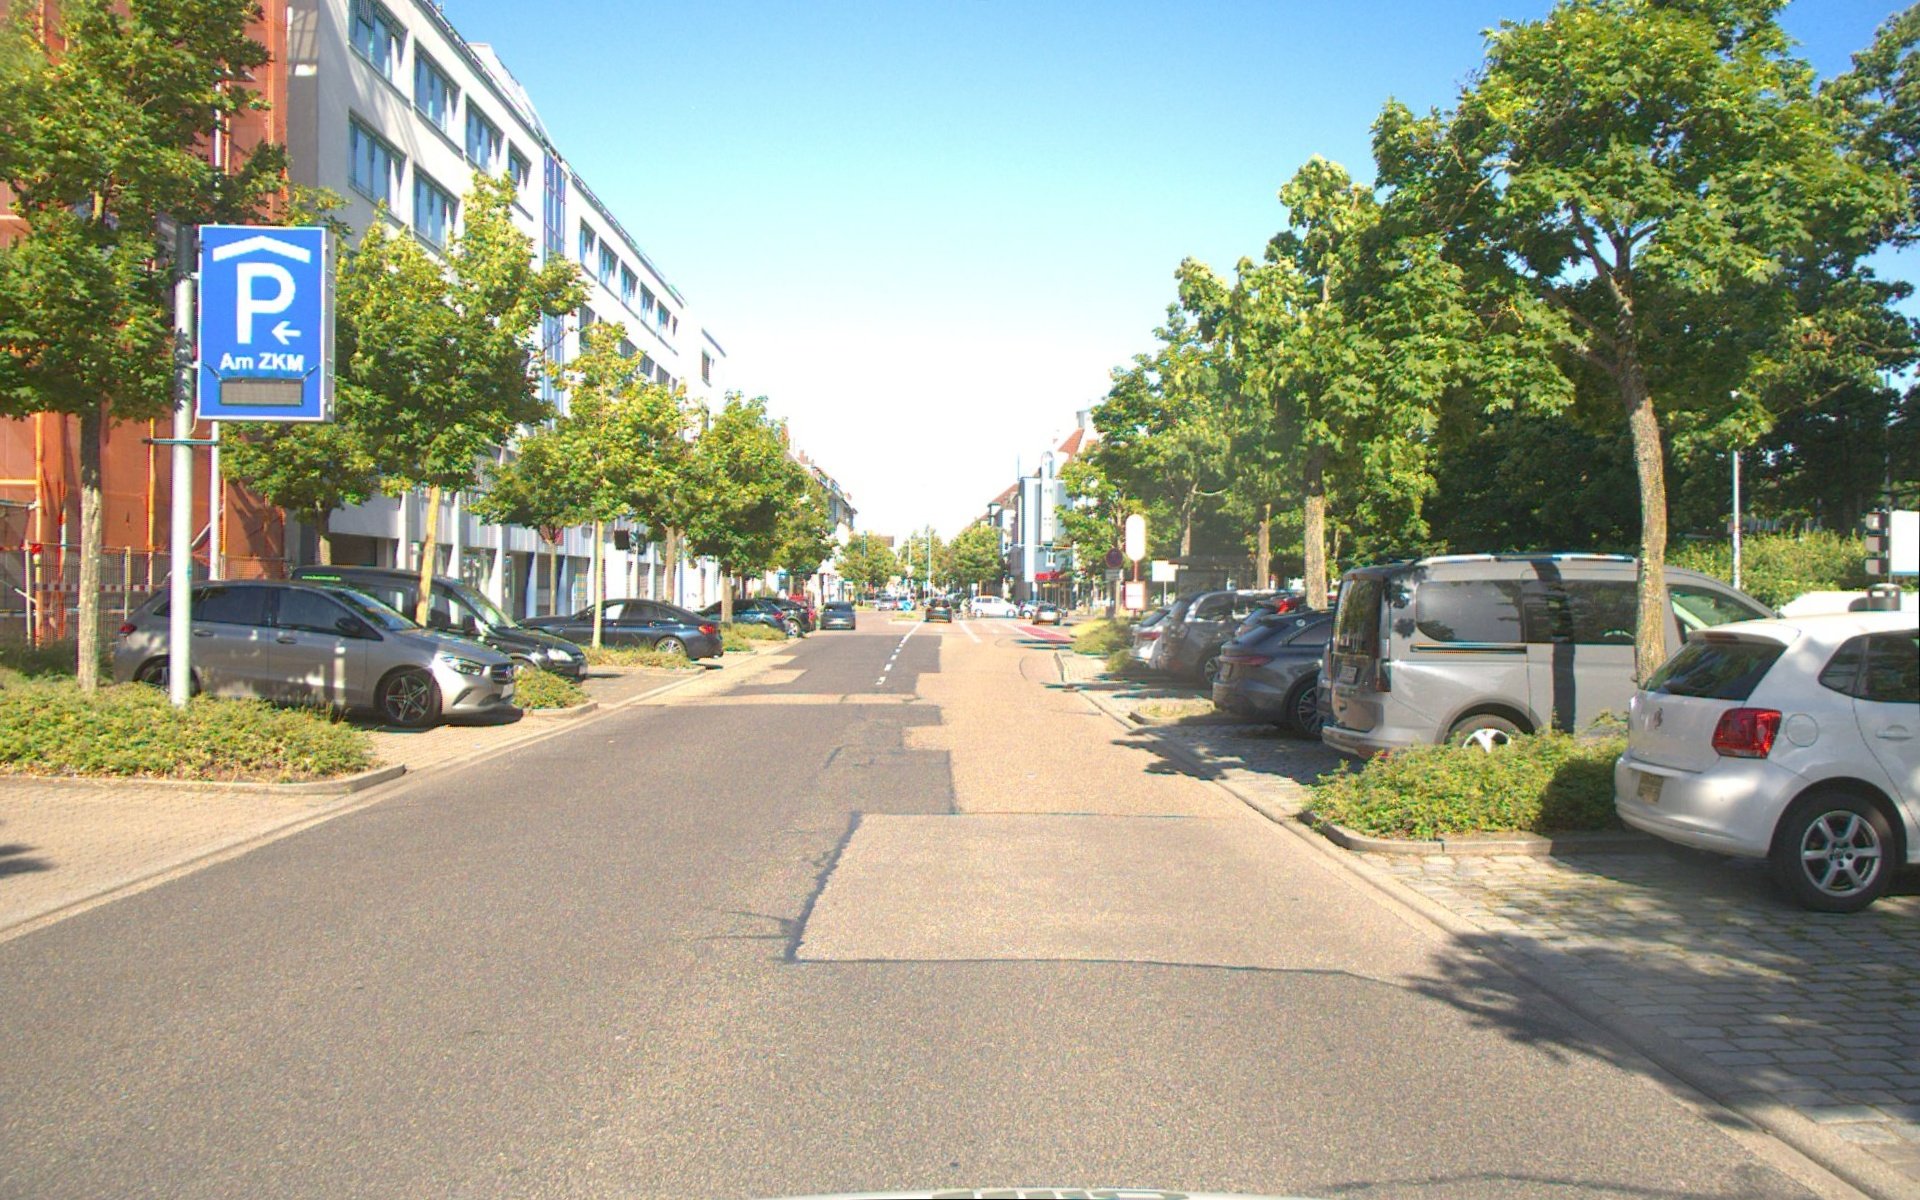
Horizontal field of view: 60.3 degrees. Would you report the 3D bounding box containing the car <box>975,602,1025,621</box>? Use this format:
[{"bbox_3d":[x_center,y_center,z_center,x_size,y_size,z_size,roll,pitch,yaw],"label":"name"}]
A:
[{"bbox_3d":[3.295,0.896,135.372,4.014,1.500,1.817,0,1,-2],"label":"car"}]

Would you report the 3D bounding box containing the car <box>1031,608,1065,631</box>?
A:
[{"bbox_3d":[6.230,1.356,117.491,1.949,1.500,4.108,0,1,-3],"label":"car"}]

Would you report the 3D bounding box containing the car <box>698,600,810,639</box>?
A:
[{"bbox_3d":[-8.148,0.764,65.630,4.243,1.500,1.817,0,1,-2],"label":"car"}]

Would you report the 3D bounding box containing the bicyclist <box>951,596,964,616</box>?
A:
[{"bbox_3d":[-0.196,0.465,126.564,1.003,1.470,0.911,0,1,1],"label":"bicyclist"}]

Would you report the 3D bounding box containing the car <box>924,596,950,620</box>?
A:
[{"bbox_3d":[-1.562,0.522,113.184,1.774,1.500,4.111,0,1,0],"label":"car"}]

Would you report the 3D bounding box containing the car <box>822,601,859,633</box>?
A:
[{"bbox_3d":[-6.198,0.874,86.316,1.775,1.500,4.109,0,1,-2],"label":"car"}]

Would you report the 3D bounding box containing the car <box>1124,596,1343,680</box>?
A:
[{"bbox_3d":[4.980,0.697,30.502,3.831,1.500,1.758,0,-1,3],"label":"car"}]

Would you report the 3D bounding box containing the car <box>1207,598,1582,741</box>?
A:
[{"bbox_3d":[4.816,0.745,18.760,3.831,1.500,1.796,0,1,3],"label":"car"}]

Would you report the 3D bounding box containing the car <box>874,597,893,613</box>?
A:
[{"bbox_3d":[-8.424,0.573,182.744,1.832,1.670,3.927,0,1,2],"label":"car"}]

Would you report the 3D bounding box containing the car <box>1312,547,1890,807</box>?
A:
[{"bbox_3d":[4.898,0.549,13.012,3.905,1.912,1.682,0,1,-1],"label":"car"}]

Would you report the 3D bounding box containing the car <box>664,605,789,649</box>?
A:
[{"bbox_3d":[-8.277,0.938,58.885,4.243,1.500,1.817,0,1,-2],"label":"car"}]

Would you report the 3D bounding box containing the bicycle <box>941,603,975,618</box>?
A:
[{"bbox_3d":[-0.150,0.824,126.577,2.624,1.131,0.911,0,1,1],"label":"bicycle"}]

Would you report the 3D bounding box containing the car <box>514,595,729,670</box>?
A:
[{"bbox_3d":[-7.087,0.665,34.959,4.246,1.500,1.816,0,1,-5],"label":"car"}]

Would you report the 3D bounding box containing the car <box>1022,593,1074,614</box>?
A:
[{"bbox_3d":[7.008,0.250,131.431,3.910,1.588,1.998,0,2,-6],"label":"car"}]

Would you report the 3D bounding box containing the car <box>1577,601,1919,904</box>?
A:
[{"bbox_3d":[5.560,0.748,9.062,3.689,1.485,1.817,0,0,-2],"label":"car"}]

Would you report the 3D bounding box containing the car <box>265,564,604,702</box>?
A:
[{"bbox_3d":[-7.413,0.433,23.642,4.242,1.894,1.818,0,1,0],"label":"car"}]

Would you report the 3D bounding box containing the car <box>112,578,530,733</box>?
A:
[{"bbox_3d":[-7.249,0.599,19.050,4.175,1.694,1.599,0,1,-2],"label":"car"}]

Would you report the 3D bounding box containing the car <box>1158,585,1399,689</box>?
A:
[{"bbox_3d":[5.356,0.599,28.206,3.831,1.671,1.878,0,1,3],"label":"car"}]
